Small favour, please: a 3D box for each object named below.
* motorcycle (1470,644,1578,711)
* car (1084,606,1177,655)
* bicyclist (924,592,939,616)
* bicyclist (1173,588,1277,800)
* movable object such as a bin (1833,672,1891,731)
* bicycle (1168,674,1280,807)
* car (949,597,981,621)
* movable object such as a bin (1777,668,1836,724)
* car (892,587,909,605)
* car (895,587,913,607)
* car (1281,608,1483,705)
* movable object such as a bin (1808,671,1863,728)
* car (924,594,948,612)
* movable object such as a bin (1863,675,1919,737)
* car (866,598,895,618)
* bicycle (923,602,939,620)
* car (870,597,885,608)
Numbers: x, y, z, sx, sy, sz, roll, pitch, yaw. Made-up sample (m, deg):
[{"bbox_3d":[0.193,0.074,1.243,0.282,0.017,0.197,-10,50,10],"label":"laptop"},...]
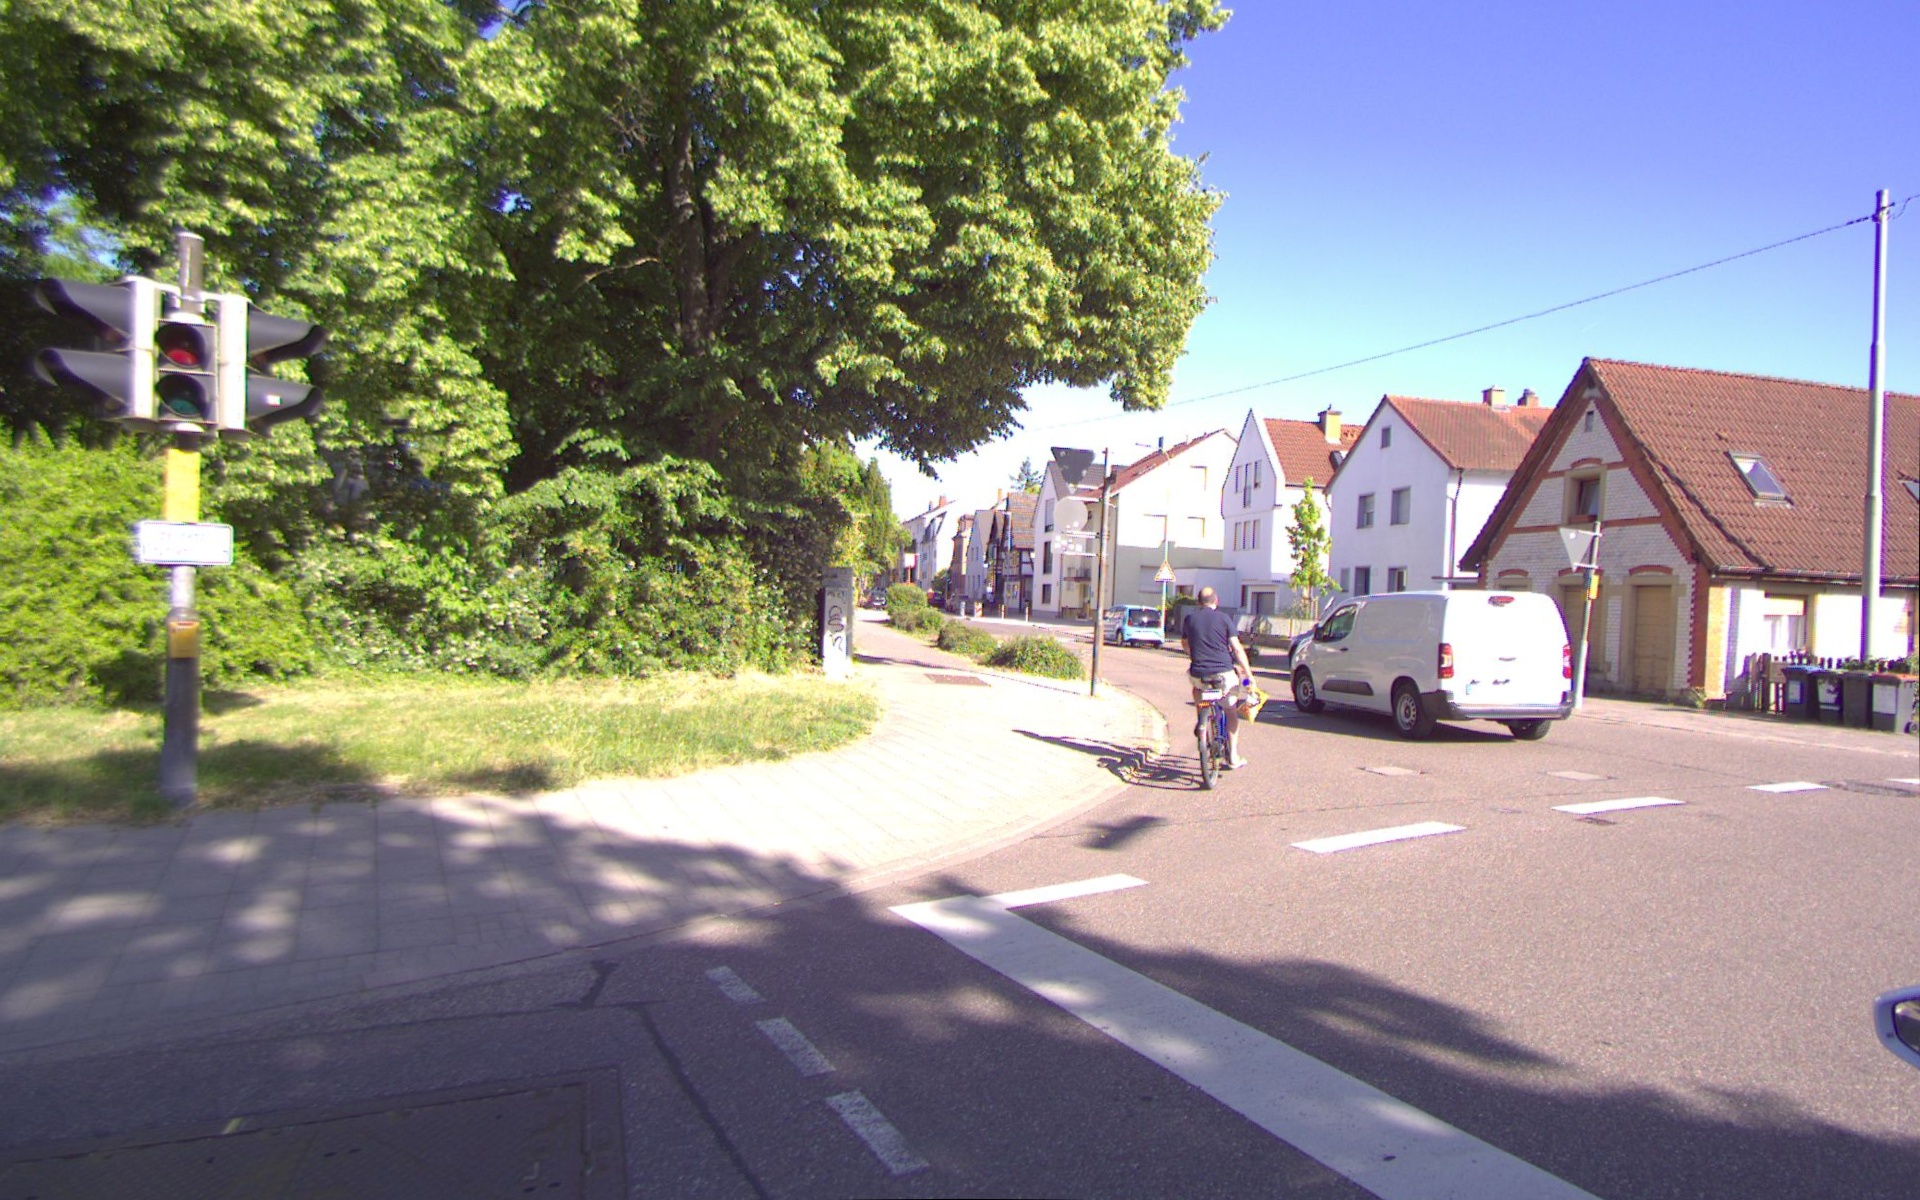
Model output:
[{"bbox_3d":[12.600,1.696,22.520,0.867,1.313,2.245,-1,0,-11],"label":"motorcycle"},{"bbox_3d":[6.197,1.090,37.038,1.912,1.570,4.224,2,0,-12],"label":"car"},{"bbox_3d":[-2.350,0.314,81.478,1.049,1.864,1.210,2,0,-6],"label":"bicyclist"},{"bbox_3d":[2.419,0.835,9.127,0.752,1.812,0.853,-3,-2,19],"label":"bicyclist"},{"bbox_3d":[15.069,1.700,16.784,0.614,0.937,0.411,2,0,-12],"label":"movable object such as a bin"},{"bbox_3d":[2.481,1.225,9.239,0.762,0.952,2.291,-4,-2,19],"label":"bicycle"},{"bbox_3d":[0.374,0.680,79.195,1.963,1.731,4.176,2,0,-6],"label":"car"},{"bbox_3d":[14.897,1.683,17.681,0.614,0.937,0.508,2,0,-12],"label":"movable object such as a bin"},{"bbox_3d":[-8.719,-0.566,147.369,1.964,2.508,4.719,2,0,-10],"label":"car"},{"bbox_3d":[-8.698,-0.449,155.830,1.791,2.939,4.648,2,0,-15],"label":"car"},{"bbox_3d":[8.990,1.143,21.841,1.912,1.748,4.224,3,0,-12],"label":"car"},{"bbox_3d":[14.994,1.696,17.207,0.614,0.918,0.412,1,1,-12],"label":"movable object such as a bin"},{"bbox_3d":[-2.453,0.251,101.645,1.963,1.731,4.176,2,0,-6],"label":"car"},{"bbox_3d":[15.189,1.706,16.275,0.614,0.937,0.556,2,0,-12],"label":"movable object such as a bin"},{"bbox_3d":[-6.335,0.643,79.582,1.963,1.483,3.994,2,0,-8],"label":"car"},{"bbox_3d":[-2.341,0.889,81.528,1.049,1.328,3.008,2,0,-6],"label":"bicycle"},{"bbox_3d":[-14.224,0.441,172.583,1.791,1.678,4.120,2,0,-15],"label":"car"}]
